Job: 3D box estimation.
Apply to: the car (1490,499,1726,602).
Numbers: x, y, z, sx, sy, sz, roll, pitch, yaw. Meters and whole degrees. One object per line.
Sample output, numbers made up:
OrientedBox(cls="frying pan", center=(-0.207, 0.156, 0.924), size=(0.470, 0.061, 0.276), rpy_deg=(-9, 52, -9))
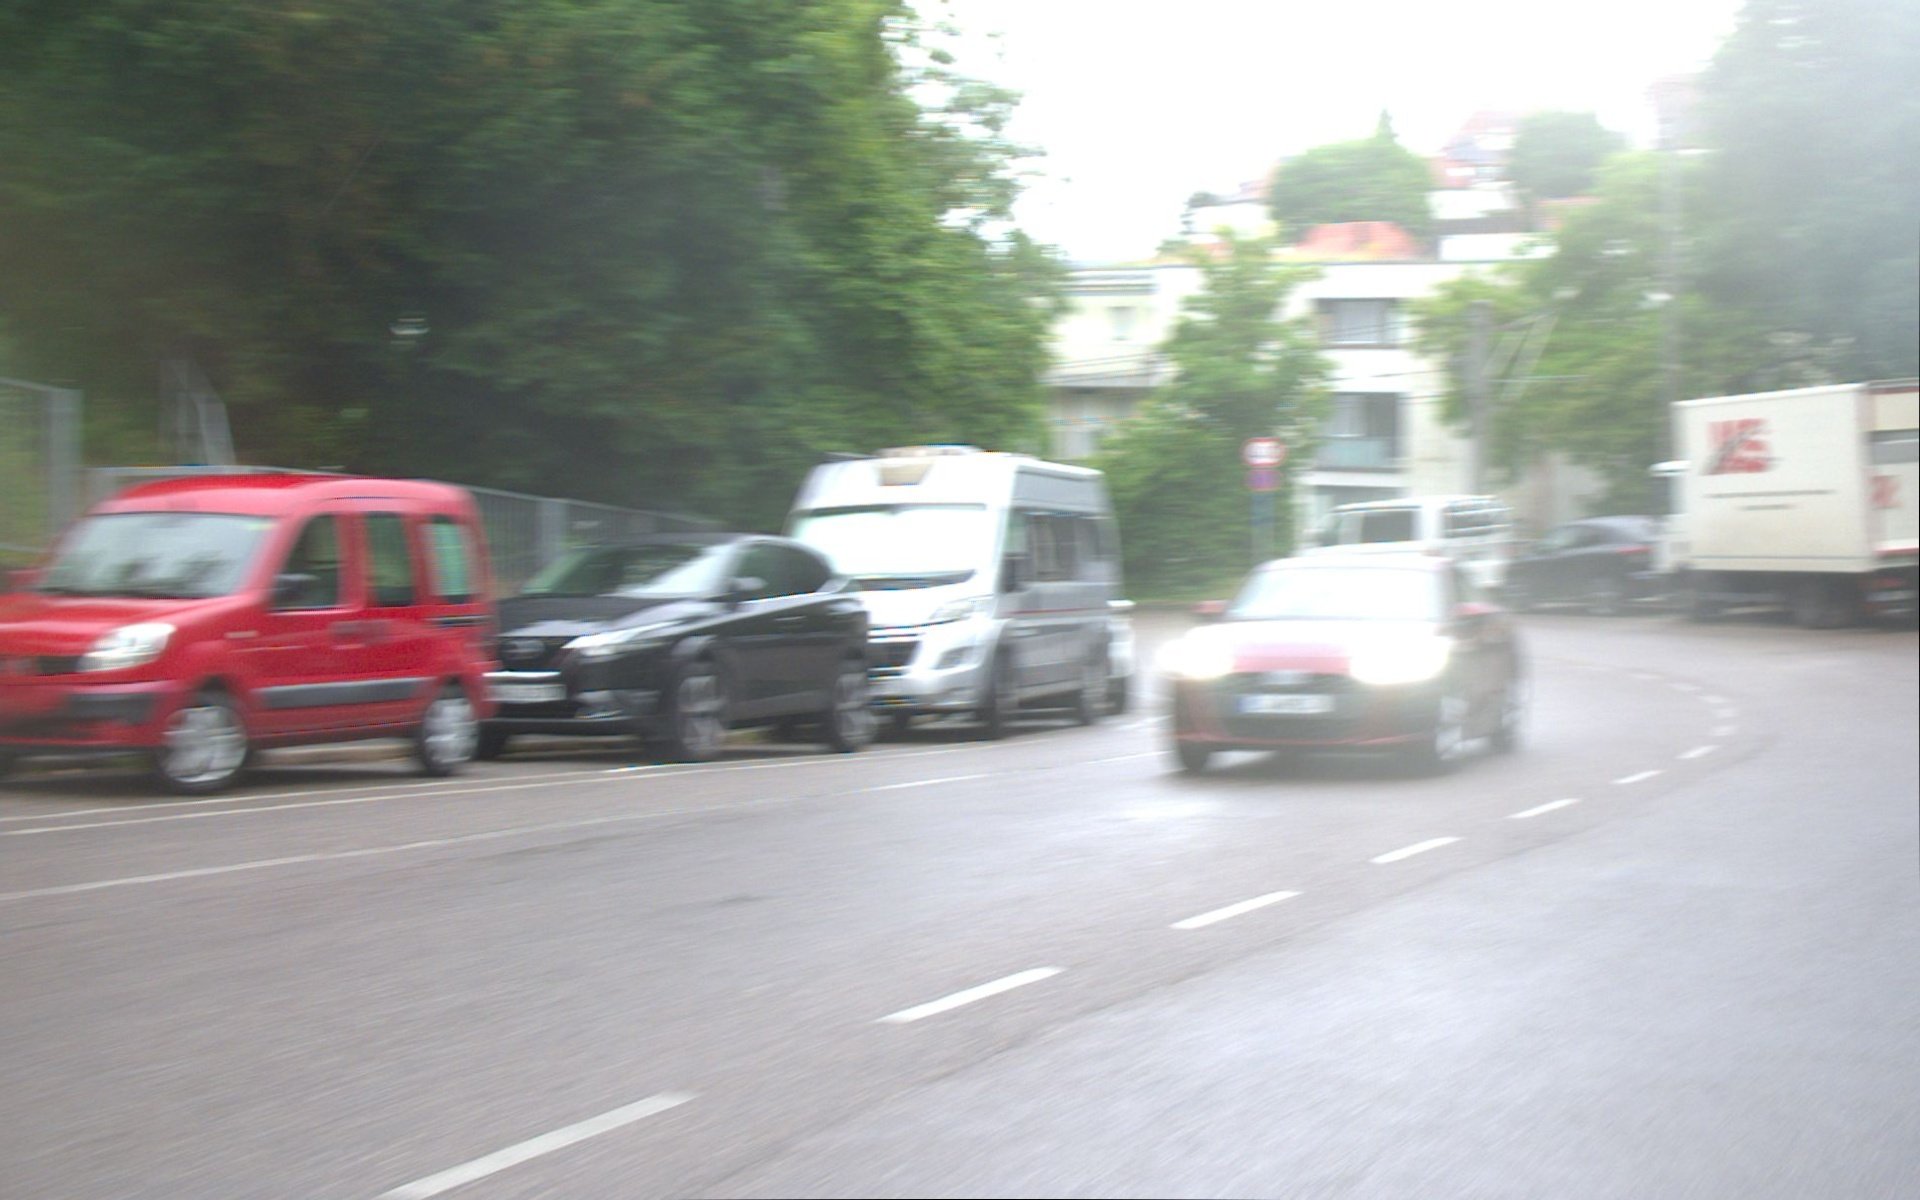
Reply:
OrientedBox(cls="car", center=(10.762, -0.823, 57.364), size=(1.718, 1.550, 4.278), rpy_deg=(-5, 2, -23))

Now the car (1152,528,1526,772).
OrientedBox(cls="car", center=(2.712, 0.286, 23.660), size=(1.868, 1.511, 4.481), rpy_deg=(-1, 1, 15))

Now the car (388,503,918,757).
OrientedBox(cls="car", center=(-2.067, 0.173, 24.560), size=(1.996, 1.614, 4.392), rpy_deg=(1, 1, 21))

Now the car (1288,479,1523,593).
OrientedBox(cls="car", center=(8.121, -1.149, 63.117), size=(1.876, 2.007, 4.692), rpy_deg=(-1, 1, -28))

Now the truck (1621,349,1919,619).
OrientedBox(cls="truck", center=(12.722, -1.664, 50.202), size=(3.006, 3.561, 8.339), rpy_deg=(-3, 1, -11))

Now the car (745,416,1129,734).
OrientedBox(cls="car", center=(-0.046, -0.240, 30.852), size=(2.075, 2.541, 6.343), rpy_deg=(-1, 1, 12))

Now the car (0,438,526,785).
OrientedBox(cls="car", center=(-4.252, 0.072, 19.684), size=(1.752, 1.762, 4.132), rpy_deg=(1, 0, 21))

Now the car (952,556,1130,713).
OrientedBox(cls="car", center=(0.891, 0.383, 38.110), size=(1.804, 1.577, 4.025), rpy_deg=(-2, -1, 1))
